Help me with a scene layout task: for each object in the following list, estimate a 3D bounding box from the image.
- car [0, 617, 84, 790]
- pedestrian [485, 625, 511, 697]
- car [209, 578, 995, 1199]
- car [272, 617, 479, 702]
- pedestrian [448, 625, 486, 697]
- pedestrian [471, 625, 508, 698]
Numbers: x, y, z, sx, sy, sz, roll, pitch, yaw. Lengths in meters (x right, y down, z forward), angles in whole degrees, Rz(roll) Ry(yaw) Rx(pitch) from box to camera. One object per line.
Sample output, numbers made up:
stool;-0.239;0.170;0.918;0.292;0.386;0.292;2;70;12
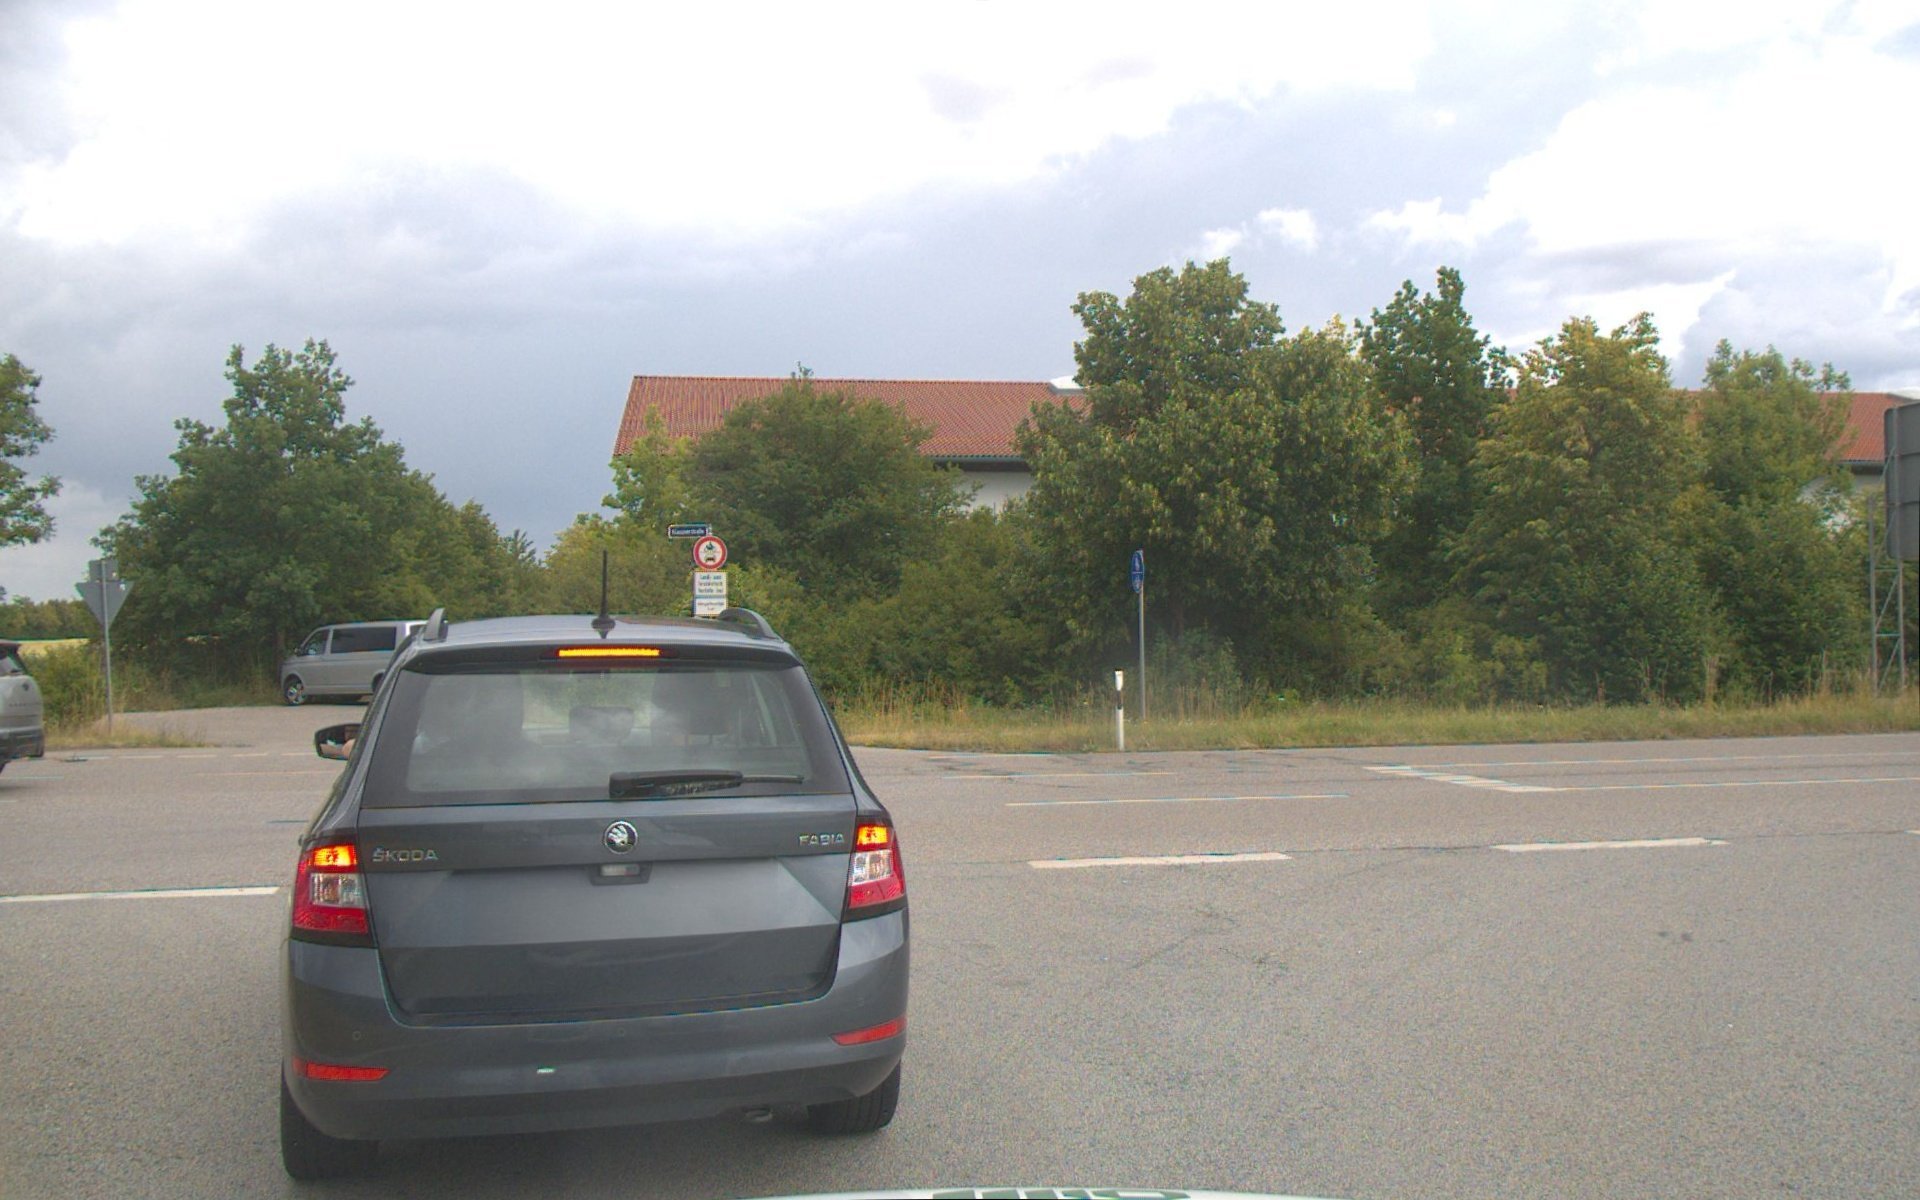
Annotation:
car;-11.283;1.083;16.389;4.171;1.652;1.994;-1;-3;-11
pedestrian;-11.631;1.526;41.650;0.480;1.777;0.642;-1;-1;-5
car;-1.261;0.713;5.610;1.685;1.473;4.100;0;-1;-15
car;-14.329;1.464;40.493;4.992;1.919;2.108;-2;0;32
pedestrian;-12.149;1.499;40.764;0.687;1.753;0.732;-1;-1;-2
pedestrian;-11.405;1.484;40.134;0.709;1.753;0.791;-1;-1;-5
